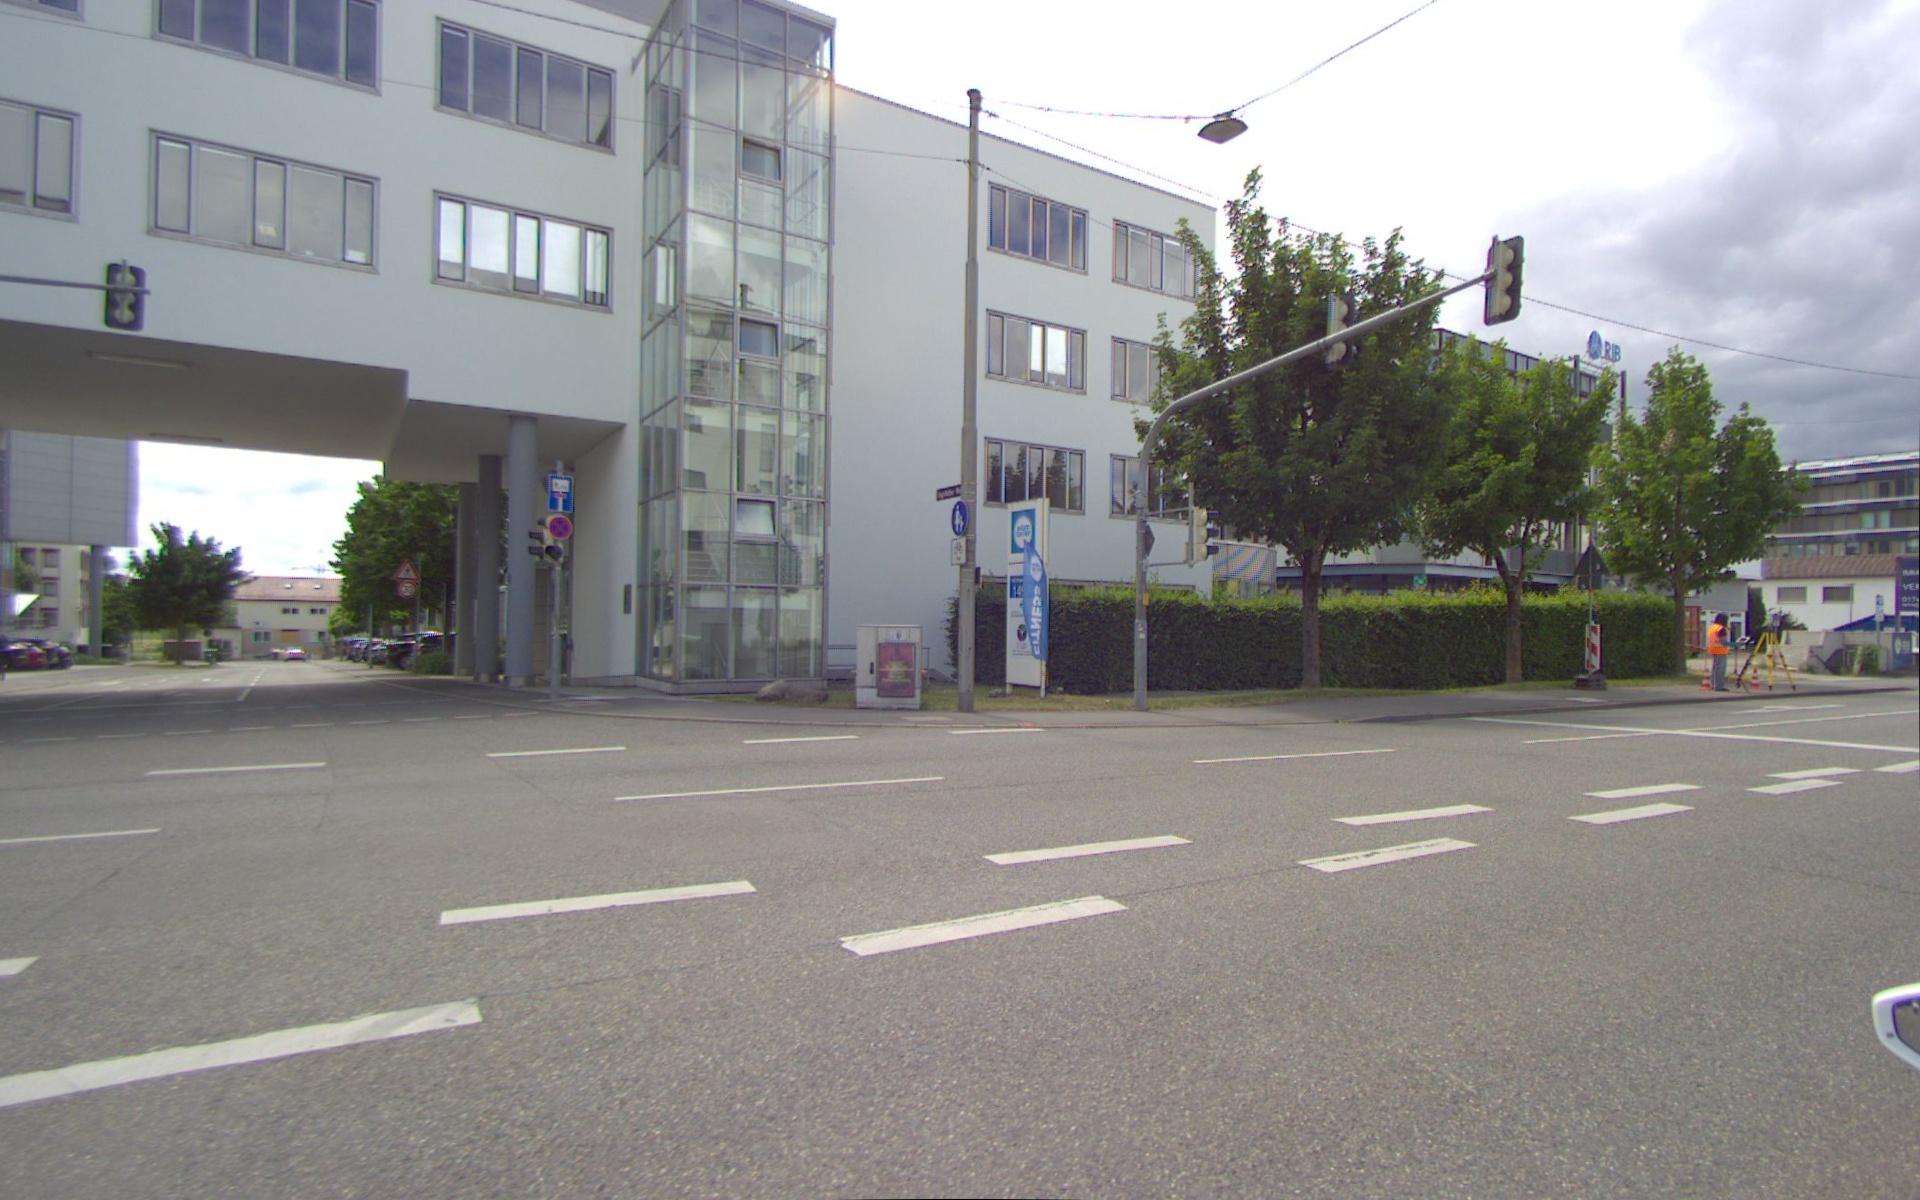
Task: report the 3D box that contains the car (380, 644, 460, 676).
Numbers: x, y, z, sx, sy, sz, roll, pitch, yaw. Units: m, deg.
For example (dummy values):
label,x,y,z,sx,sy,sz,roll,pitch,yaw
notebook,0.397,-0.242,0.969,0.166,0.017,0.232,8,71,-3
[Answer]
label,x,y,z,sx,sy,sz,roll,pitch,yaw
car,-29.486,3.262,54.854,3.771,1.662,1.700,2,-3,-30

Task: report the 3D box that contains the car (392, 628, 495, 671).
label,x,y,z,sx,sy,sz,roll,pitch,yaw
car,-22.428,2.128,43.674,3.855,1.773,1.778,2,-2,-30

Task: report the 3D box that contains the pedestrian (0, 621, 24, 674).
label,x,y,z,sx,sy,sz,roll,pitch,yaw
pedestrian,-33.495,1.666,35.231,0.809,1.806,0.693,3,0,-35

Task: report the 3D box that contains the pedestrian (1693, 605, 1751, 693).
label,x,y,z,sx,sy,sz,roll,pitch,yaw
pedestrian,18.325,1.151,24.161,0.794,2.040,0.726,3,0,13

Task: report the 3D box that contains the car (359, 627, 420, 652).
label,x,y,z,sx,sy,sz,roll,pitch,yaw
car,-42.989,2.969,75.811,3.897,1.685,1.856,3,0,-30

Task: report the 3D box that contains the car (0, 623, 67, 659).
label,x,y,z,sx,sy,sz,roll,pitch,yaw
car,-48.827,2.101,51.729,3.964,1.674,1.832,3,0,-33

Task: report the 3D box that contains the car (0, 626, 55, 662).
label,x,y,z,sx,sy,sz,roll,pitch,yaw
car,-47.530,2.152,49.536,3.964,1.674,1.832,3,0,-33

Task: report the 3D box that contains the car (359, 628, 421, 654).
label,x,y,z,sx,sy,sz,roll,pitch,yaw
car,-42.006,3.016,74.124,3.897,1.685,1.856,3,0,-30

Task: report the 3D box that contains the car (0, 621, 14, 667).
label,x,y,z,sx,sy,sz,roll,pitch,yaw
car,-43.405,1.820,42.917,3.957,1.863,1.937,3,0,-33

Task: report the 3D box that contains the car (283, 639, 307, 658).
label,x,y,z,sx,sy,sz,roll,pitch,yaw
car,-67.124,4.855,101.392,1.829,1.620,3.817,3,0,-36

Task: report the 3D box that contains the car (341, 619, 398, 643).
label,x,y,z,sx,sy,sz,roll,pitch,yaw
car,-48.294,2.544,82.239,3.897,1.685,1.856,3,0,-30

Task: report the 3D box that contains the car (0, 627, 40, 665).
label,x,y,z,sx,sy,sz,roll,pitch,yaw
car,-46.438,2.142,47.494,3.964,1.674,1.832,3,0,-33

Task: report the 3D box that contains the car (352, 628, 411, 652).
label,x,y,z,sx,sy,sz,roll,pitch,yaw
car,-44.751,3.119,77.773,3.897,1.685,1.856,3,0,-30

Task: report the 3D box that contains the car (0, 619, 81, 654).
label,x,y,z,sx,sy,sz,roll,pitch,yaw
car,-50.057,1.960,53.954,3.964,1.674,1.832,3,0,-33
